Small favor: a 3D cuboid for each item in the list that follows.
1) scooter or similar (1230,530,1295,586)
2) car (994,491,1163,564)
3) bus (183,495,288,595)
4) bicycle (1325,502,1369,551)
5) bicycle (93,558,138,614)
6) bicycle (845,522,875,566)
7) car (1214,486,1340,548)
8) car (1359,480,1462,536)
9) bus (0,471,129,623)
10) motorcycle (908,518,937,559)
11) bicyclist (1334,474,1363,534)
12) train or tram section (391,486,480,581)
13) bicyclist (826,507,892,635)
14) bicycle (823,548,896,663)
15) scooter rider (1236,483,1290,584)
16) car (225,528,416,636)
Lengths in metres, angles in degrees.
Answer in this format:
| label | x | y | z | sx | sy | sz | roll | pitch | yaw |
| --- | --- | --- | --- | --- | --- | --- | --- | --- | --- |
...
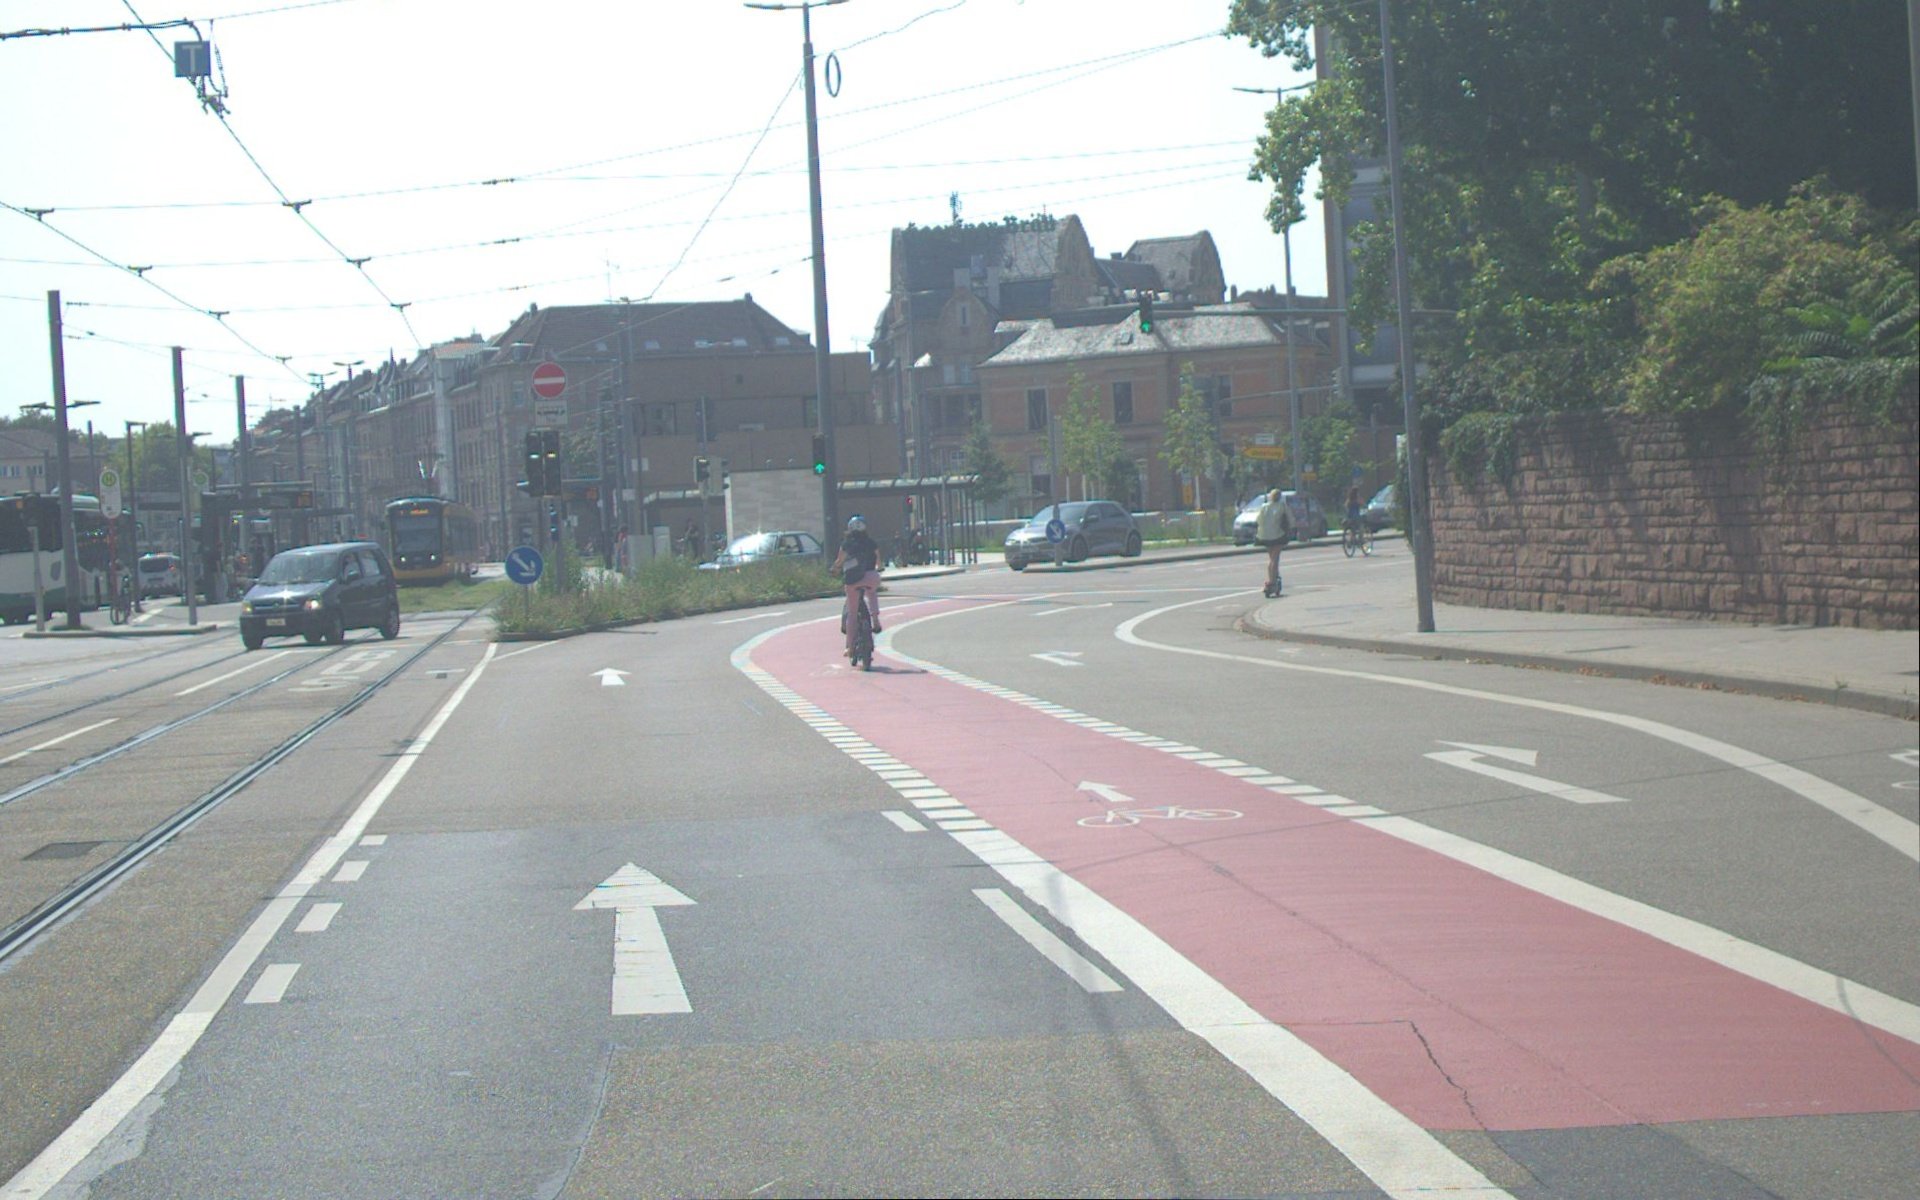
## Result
| label | x | y | z | sx | sy | sz | roll | pitch | yaw |
| --- | --- | --- | --- | --- | --- | --- | --- | --- | --- |
| scooter or similar | 5.393 | -0.750 | 61.289 | 0.773 | 0.923 | 1.619 | -2 | 2 | 18 |
| car | 3.004 | -1.834 | 86.375 | 1.775 | 1.605 | 4.664 | -2 | 2 | 38 |
| bus | -28.872 | -2.211 | 137.430 | 2.709 | 3.714 | 10.421 | -2 | 1 | -5 |
| bicycle | 9.284 | -1.762 | 82.423 | 0.445 | 1.113 | 1.444 | -3 | 2 | 31 |
| bicycle | -19.457 | -0.337 | 79.257 | 0.607 | 1.218 | 1.705 | -3 | 1 | -2 |
| bicycle | -2.875 | -1.632 | 99.159 | 0.604 | 1.206 | 1.810 | -3 | 2 | 5 |
| car | 8.970 | -2.349 | 97.034 | 1.653 | 1.525 | 4.318 | -2 | 2 | 33 |
| car | 13.958 | -2.853 | 106.377 | 1.699 | 1.525 | 4.177 | -2 | 2 | 29 |
| bus | -24.473 | -1.412 | 92.078 | 2.957 | 3.761 | 10.599 | -2 | 1 | -7 |
| motorcycle | -1.136 | -1.881 | 104.949 | 0.604 | 1.206 | 2.253 | -3 | 2 | 5 |
| bicyclist | 9.324 | -2.303 | 82.551 | 0.450 | 1.416 | 0.495 | -3 | 1 | 31 |
| train or tram section | -21.410 | -2.725 | 141.016 | 2.856 | 3.536 | 17.747 | -2 | 1 | -7 |
| bicyclist | -1.088 | -0.320 | 36.953 | 0.602 | 1.330 | 0.660 | -3 | 1 | -5 |
| bicycle | -1.094 | 0.045 | 37.023 | 0.604 | 1.159 | 1.811 | -3 | 2 | -6 |
| scooter rider | 5.411 | -1.188 | 61.410 | 0.762 | 1.769 | 0.554 | -2 | 1 | 19 |
| car | -10.643 | -0.329 | 57.434 | 1.692 | 1.649 | 3.579 | -2 | 1 | 15 |
